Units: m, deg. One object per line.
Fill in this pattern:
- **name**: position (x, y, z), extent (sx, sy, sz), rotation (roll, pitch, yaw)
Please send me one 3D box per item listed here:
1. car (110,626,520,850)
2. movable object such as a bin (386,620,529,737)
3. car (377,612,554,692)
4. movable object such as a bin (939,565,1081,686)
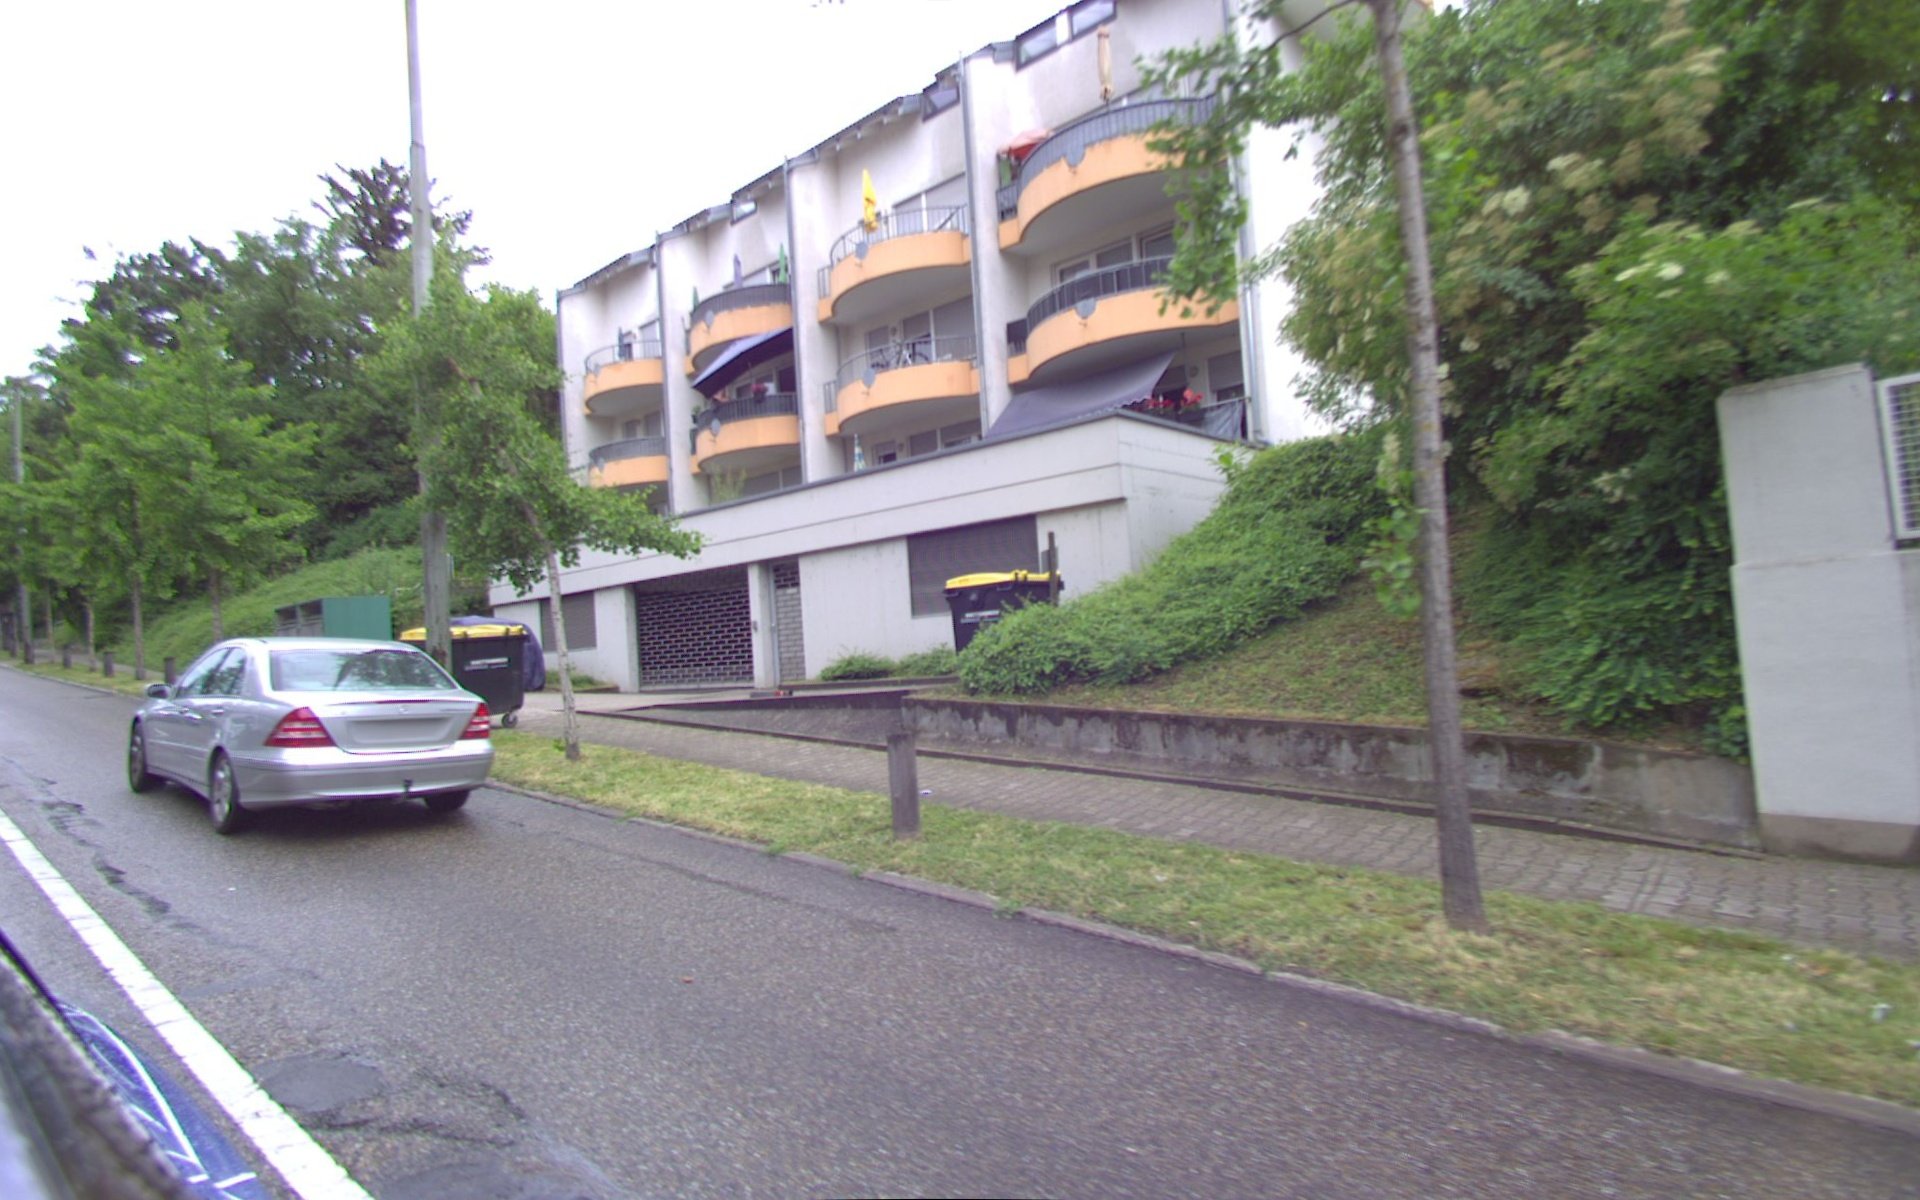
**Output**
- **car**: position (-5.508, 0.973, 8.406), extent (4.283, 1.395, 1.701), rotation (-2, -5, 41)
- **movable object such as a bin**: position (-6.365, 0.957, 12.842), extent (1.120, 1.360, 1.213), rotation (-2, 0, 33)
- **car**: position (-10.300, 1.076, 21.007), extent (3.862, 1.503, 1.832), rotation (-2, -5, 40)
- **movable object such as a bin**: position (0.618, 0.304, 12.244), extent (1.159, 1.325, 1.252), rotation (-6, -3, 33)
